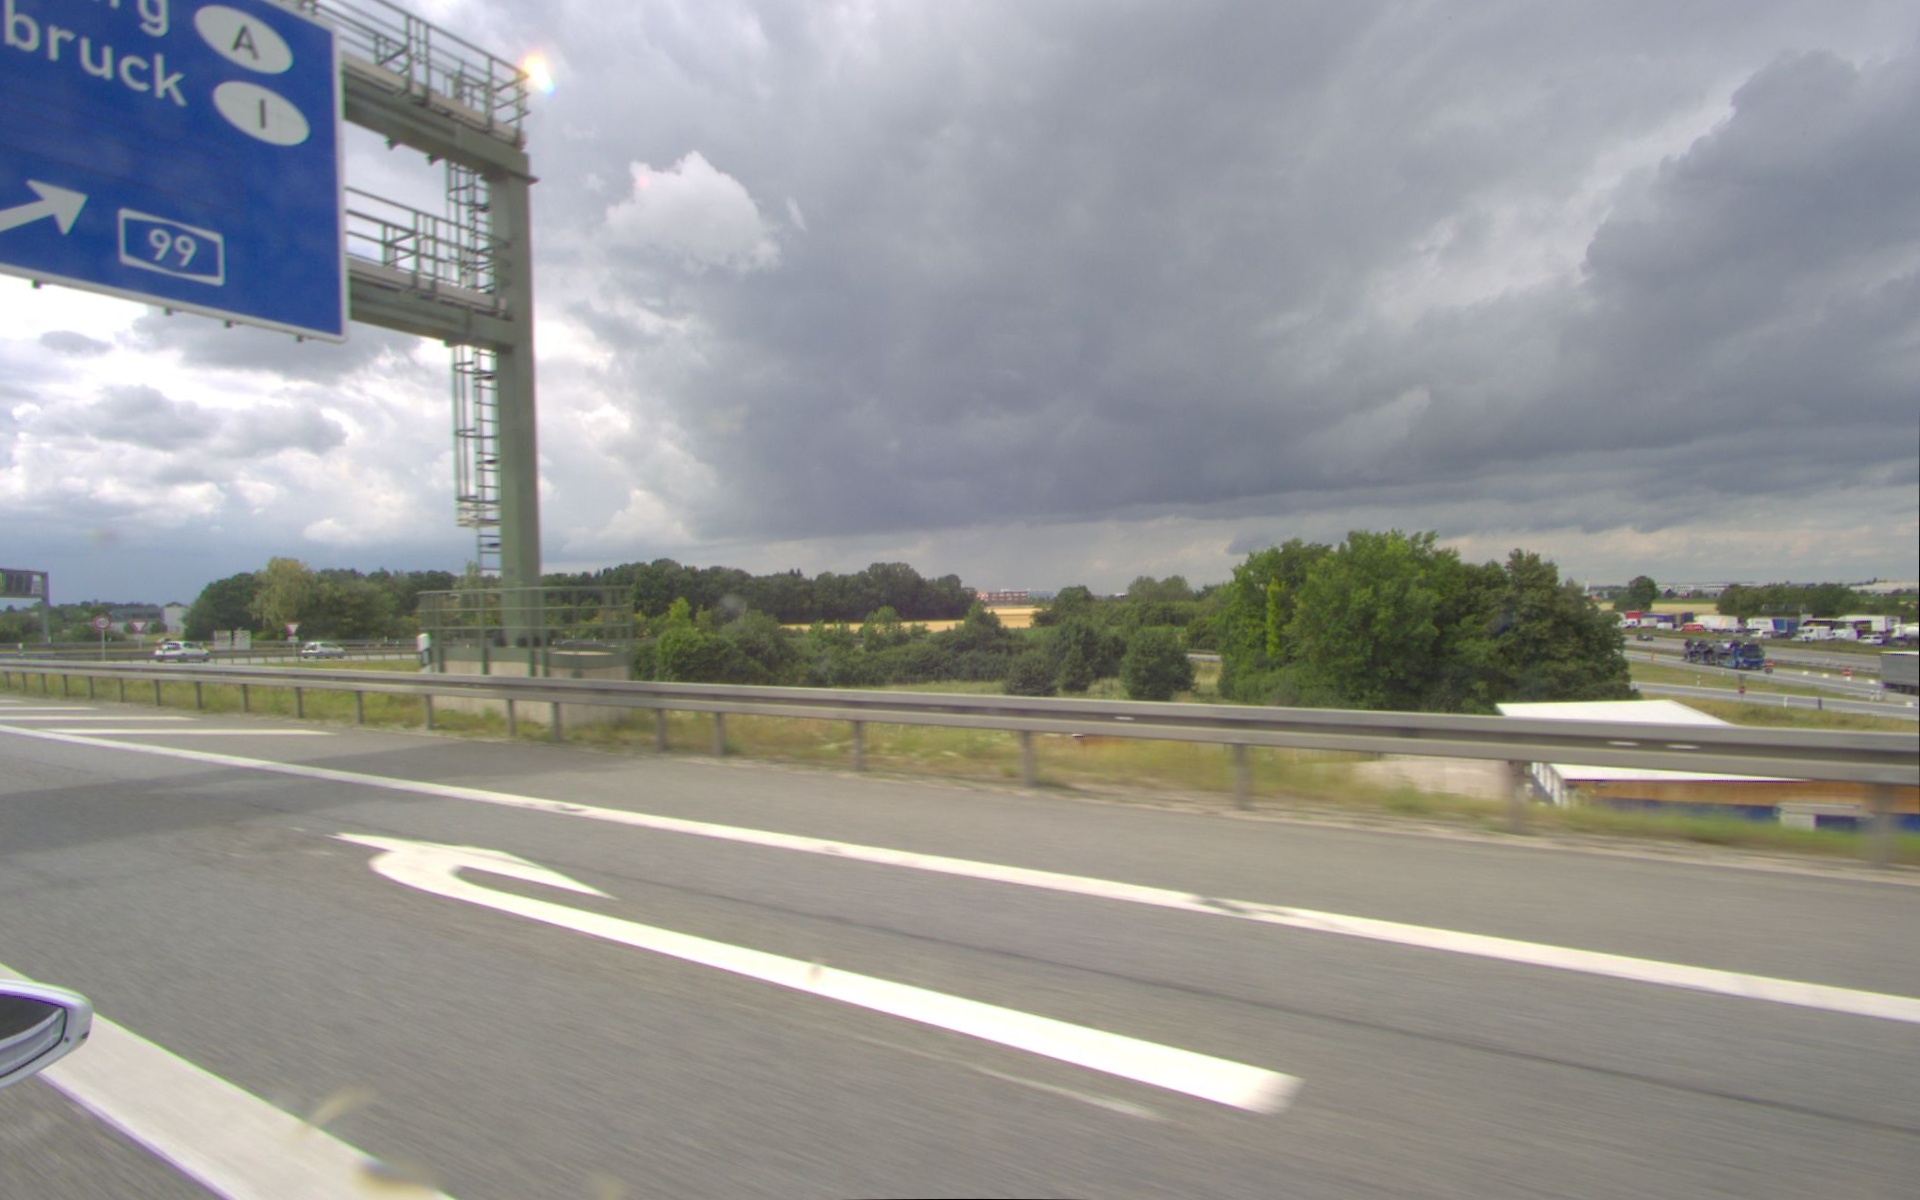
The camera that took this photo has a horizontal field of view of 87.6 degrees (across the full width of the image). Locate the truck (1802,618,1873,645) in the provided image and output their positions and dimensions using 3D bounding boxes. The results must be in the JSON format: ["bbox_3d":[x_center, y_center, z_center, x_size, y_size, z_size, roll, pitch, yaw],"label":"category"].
[{"bbox_3d":[168.869,5.964,193.021,4.011,4.884,15.337,1,-1,16],"label":"truck"}]

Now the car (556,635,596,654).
[{"bbox_3d":[-44.522,5.175,116.133,1.763,2.038,3.972,-1,-4,40],"label":"car"}]

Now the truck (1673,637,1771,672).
[{"bbox_3d":[105.833,7.437,139.730,3.921,4.112,19.028,0,-1,15],"label":"truck"}]

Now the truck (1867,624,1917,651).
[{"bbox_3d":[165.469,6.559,177.900,3.998,4.557,6.490,1,0,16],"label":"truck"}]

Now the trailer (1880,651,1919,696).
[{"bbox_3d":[93.396,7.179,95.154,2.936,4.153,14.228,1,-1,17],"label":"trailer"}]

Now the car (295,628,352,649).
[{"bbox_3d":[-57.118,3.451,89.898,1.963,1.731,3.996,1,-1,16],"label":"car"}]

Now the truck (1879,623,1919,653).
[{"bbox_3d":[163.207,6.425,170.072,4.011,4.884,15.337,1,-1,16],"label":"truck"}]

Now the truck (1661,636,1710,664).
[{"bbox_3d":[108.582,7.420,149.968,3.791,4.043,6.414,-1,-1,15],"label":"truck"}]

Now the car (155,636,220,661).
[{"bbox_3d":[-58.044,3.629,75.303,1.961,1.731,4.000,1,-1,-4],"label":"car"}]
